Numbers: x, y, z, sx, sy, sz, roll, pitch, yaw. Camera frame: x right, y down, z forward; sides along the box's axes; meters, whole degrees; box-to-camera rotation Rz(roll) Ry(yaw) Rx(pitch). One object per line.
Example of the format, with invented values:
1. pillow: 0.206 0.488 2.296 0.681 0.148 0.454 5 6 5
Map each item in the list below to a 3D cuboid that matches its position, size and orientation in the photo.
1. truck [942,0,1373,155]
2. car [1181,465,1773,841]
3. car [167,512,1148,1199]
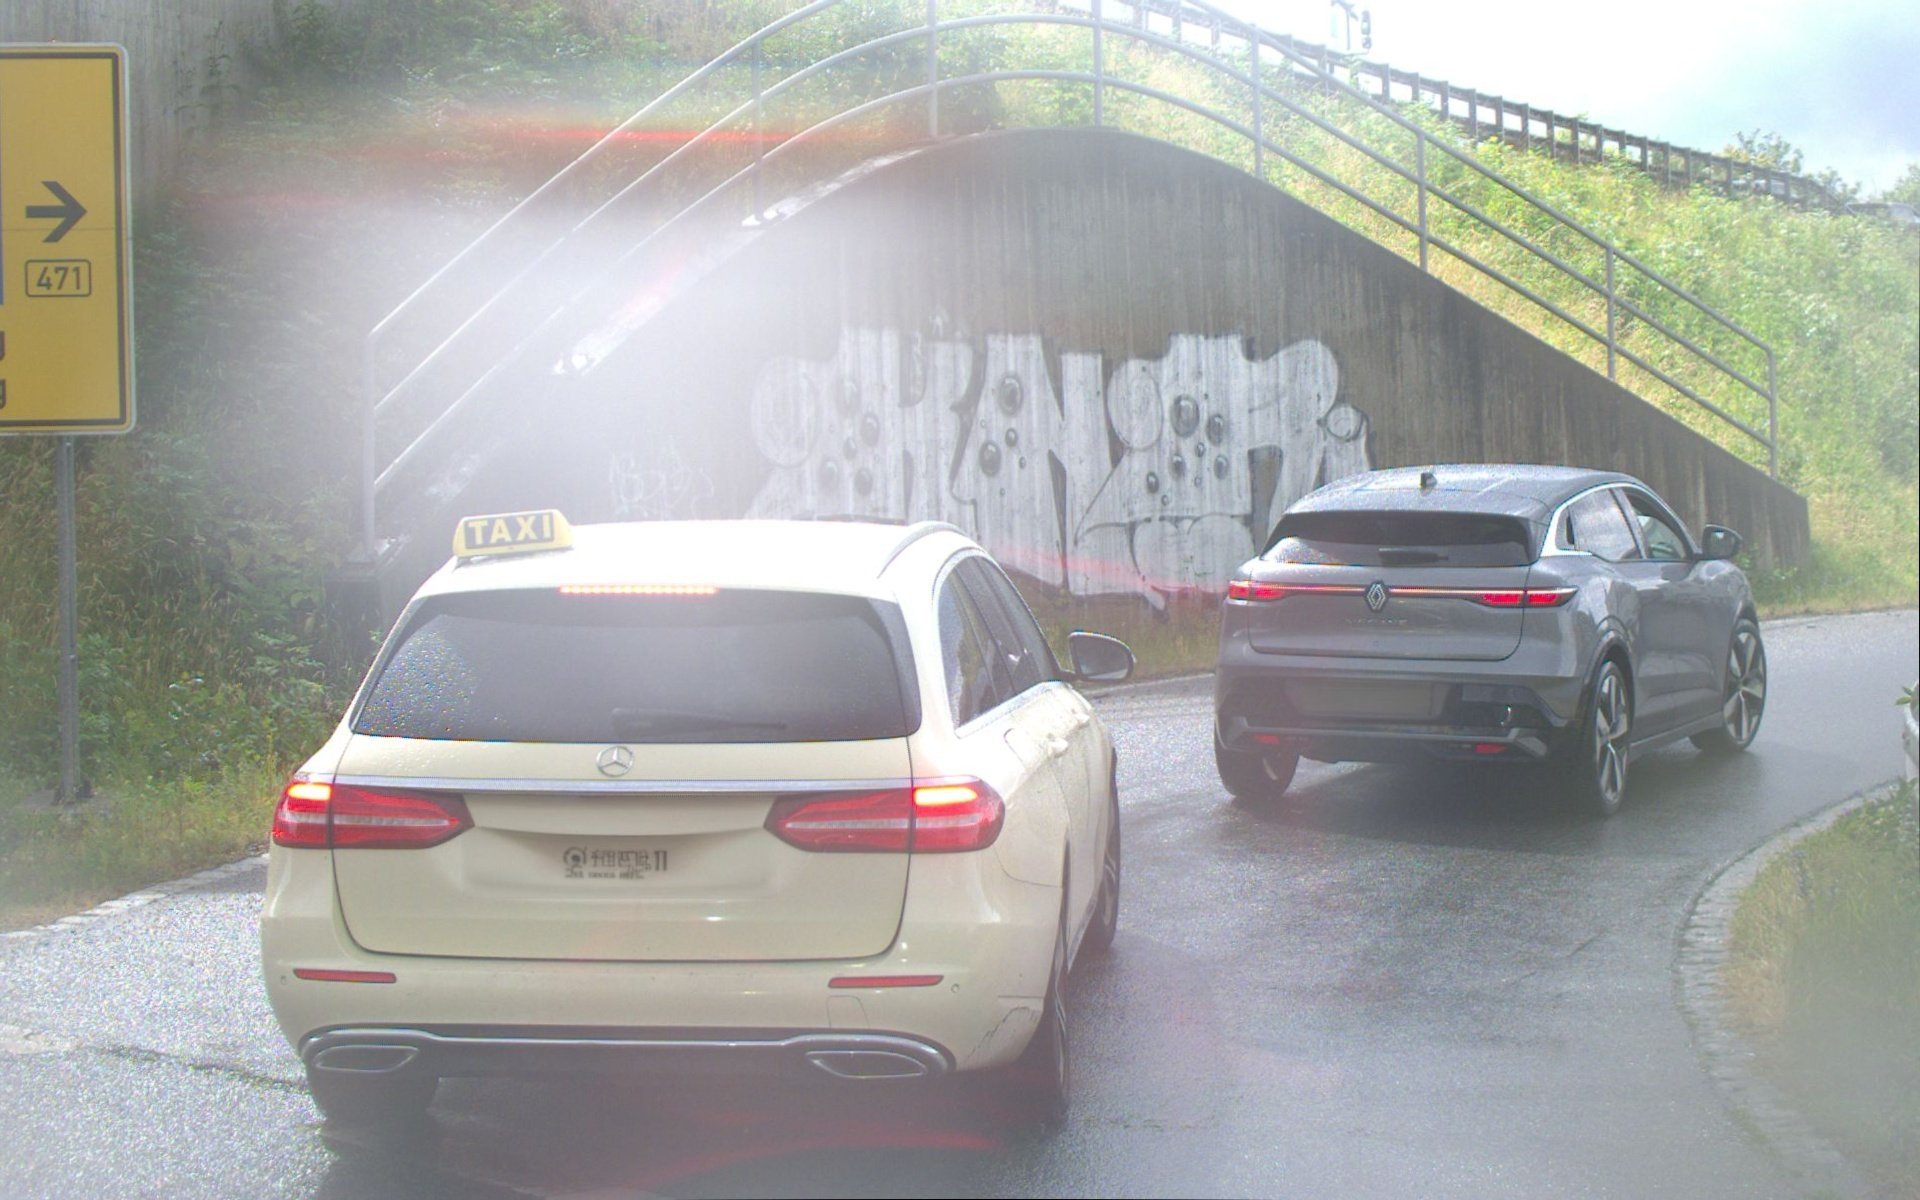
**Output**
1. truck: 3.187 -9.142 51.460 3.185 3.952 9.225 1 2 25
2. car: 2.584 0.136 16.359 1.720 1.519 3.995 1 3 25
3. car: -0.524 0.515 9.538 1.916 1.502 4.595 0 1 5
